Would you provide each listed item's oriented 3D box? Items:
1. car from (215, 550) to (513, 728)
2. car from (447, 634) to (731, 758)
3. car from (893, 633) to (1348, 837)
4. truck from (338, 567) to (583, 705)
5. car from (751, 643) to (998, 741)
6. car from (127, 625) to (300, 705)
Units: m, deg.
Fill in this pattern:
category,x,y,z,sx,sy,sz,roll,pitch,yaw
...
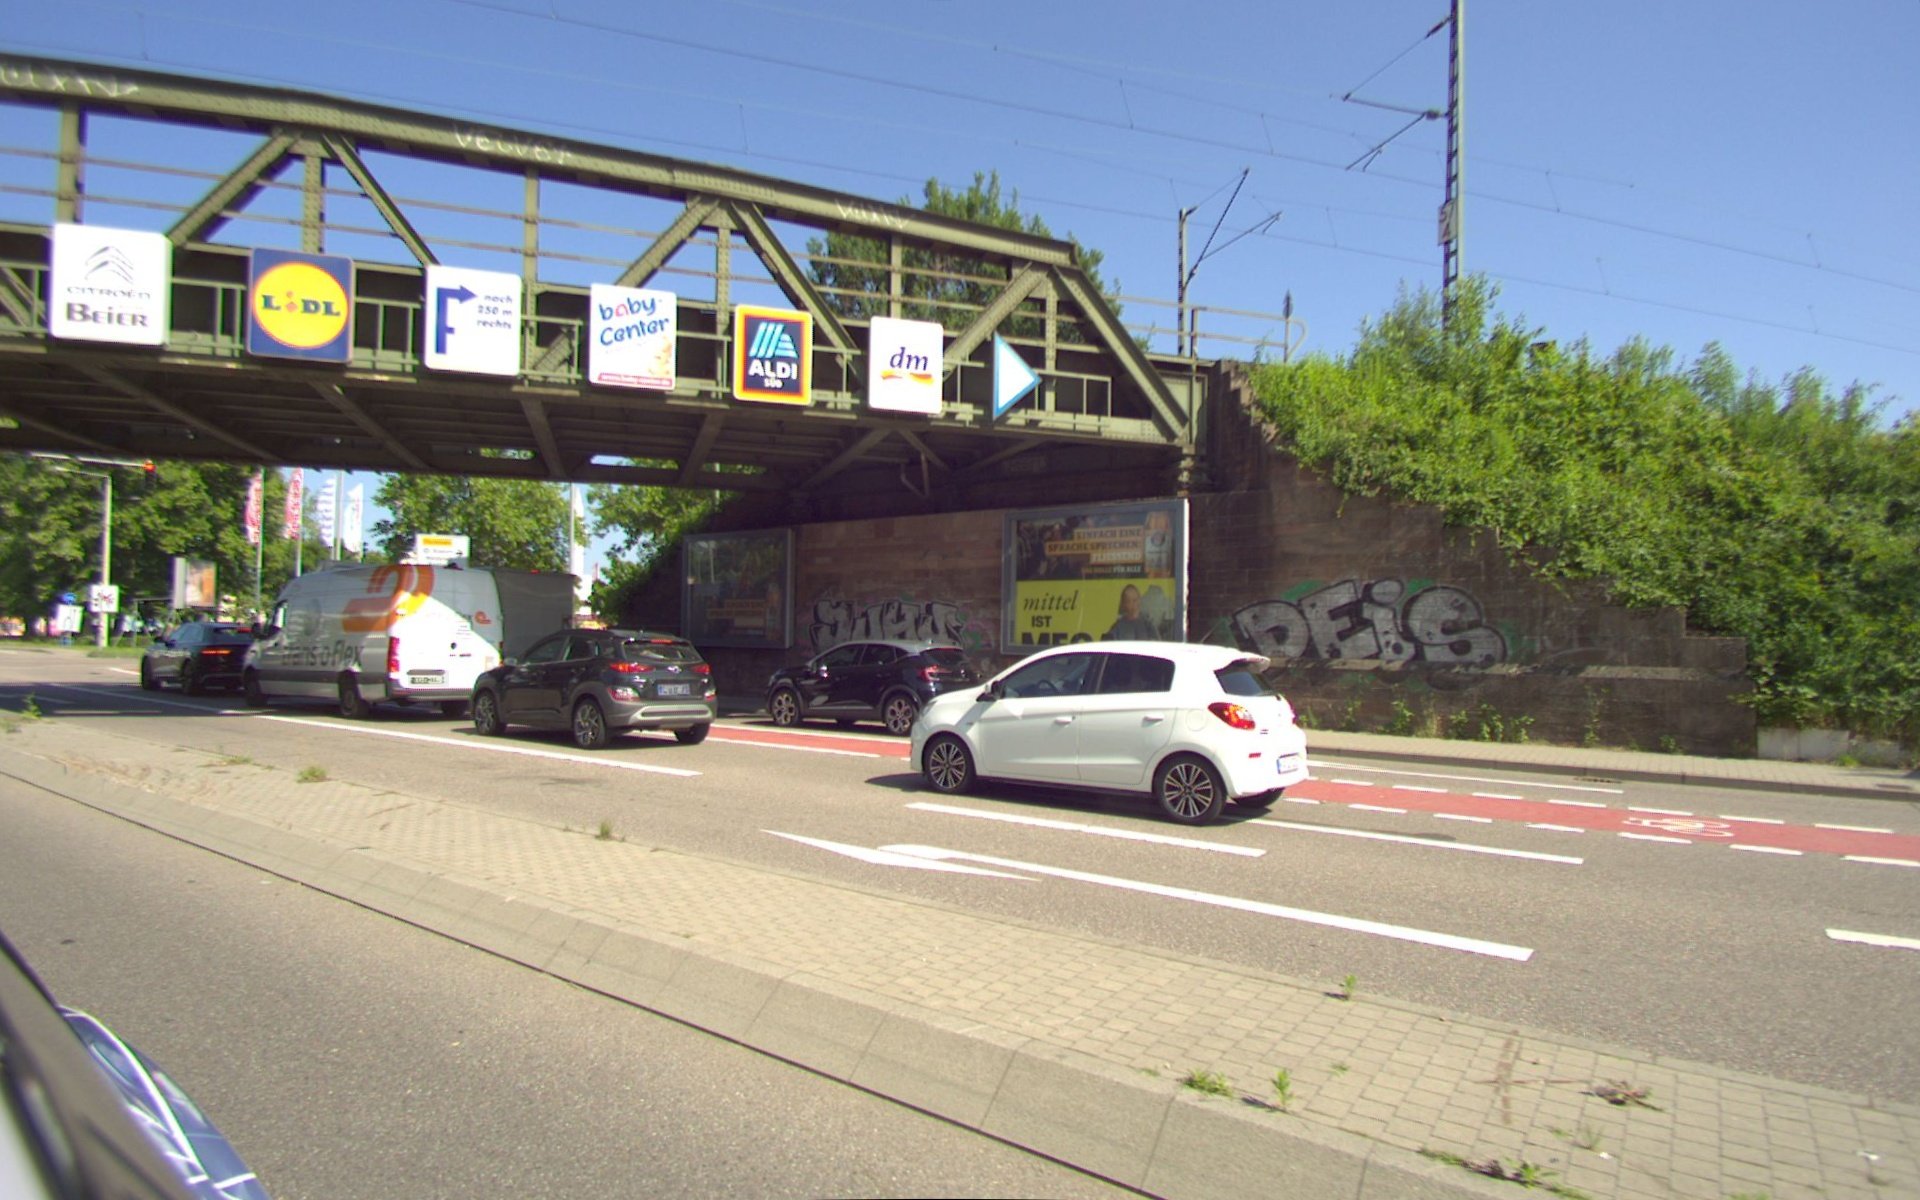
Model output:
category,x,y,z,sx,sy,sz,roll,pitch,yaw
car,-11.261,0.725,18.852,6.921,2.827,1.976,-1,-5,35
car,-5.300,1.285,14.267,4.170,1.506,1.752,-2,-5,37
car,1.375,1.114,9.327,3.821,1.506,1.628,-2,-5,36
truck,-12.822,0.881,25.754,7.050,3.112,2.322,-1,-2,34
car,-1.541,1.532,17.550,4.170,1.506,1.752,-2,-5,37
car,-17.671,1.451,23.874,4.942,1.694,1.975,-1,-3,38
